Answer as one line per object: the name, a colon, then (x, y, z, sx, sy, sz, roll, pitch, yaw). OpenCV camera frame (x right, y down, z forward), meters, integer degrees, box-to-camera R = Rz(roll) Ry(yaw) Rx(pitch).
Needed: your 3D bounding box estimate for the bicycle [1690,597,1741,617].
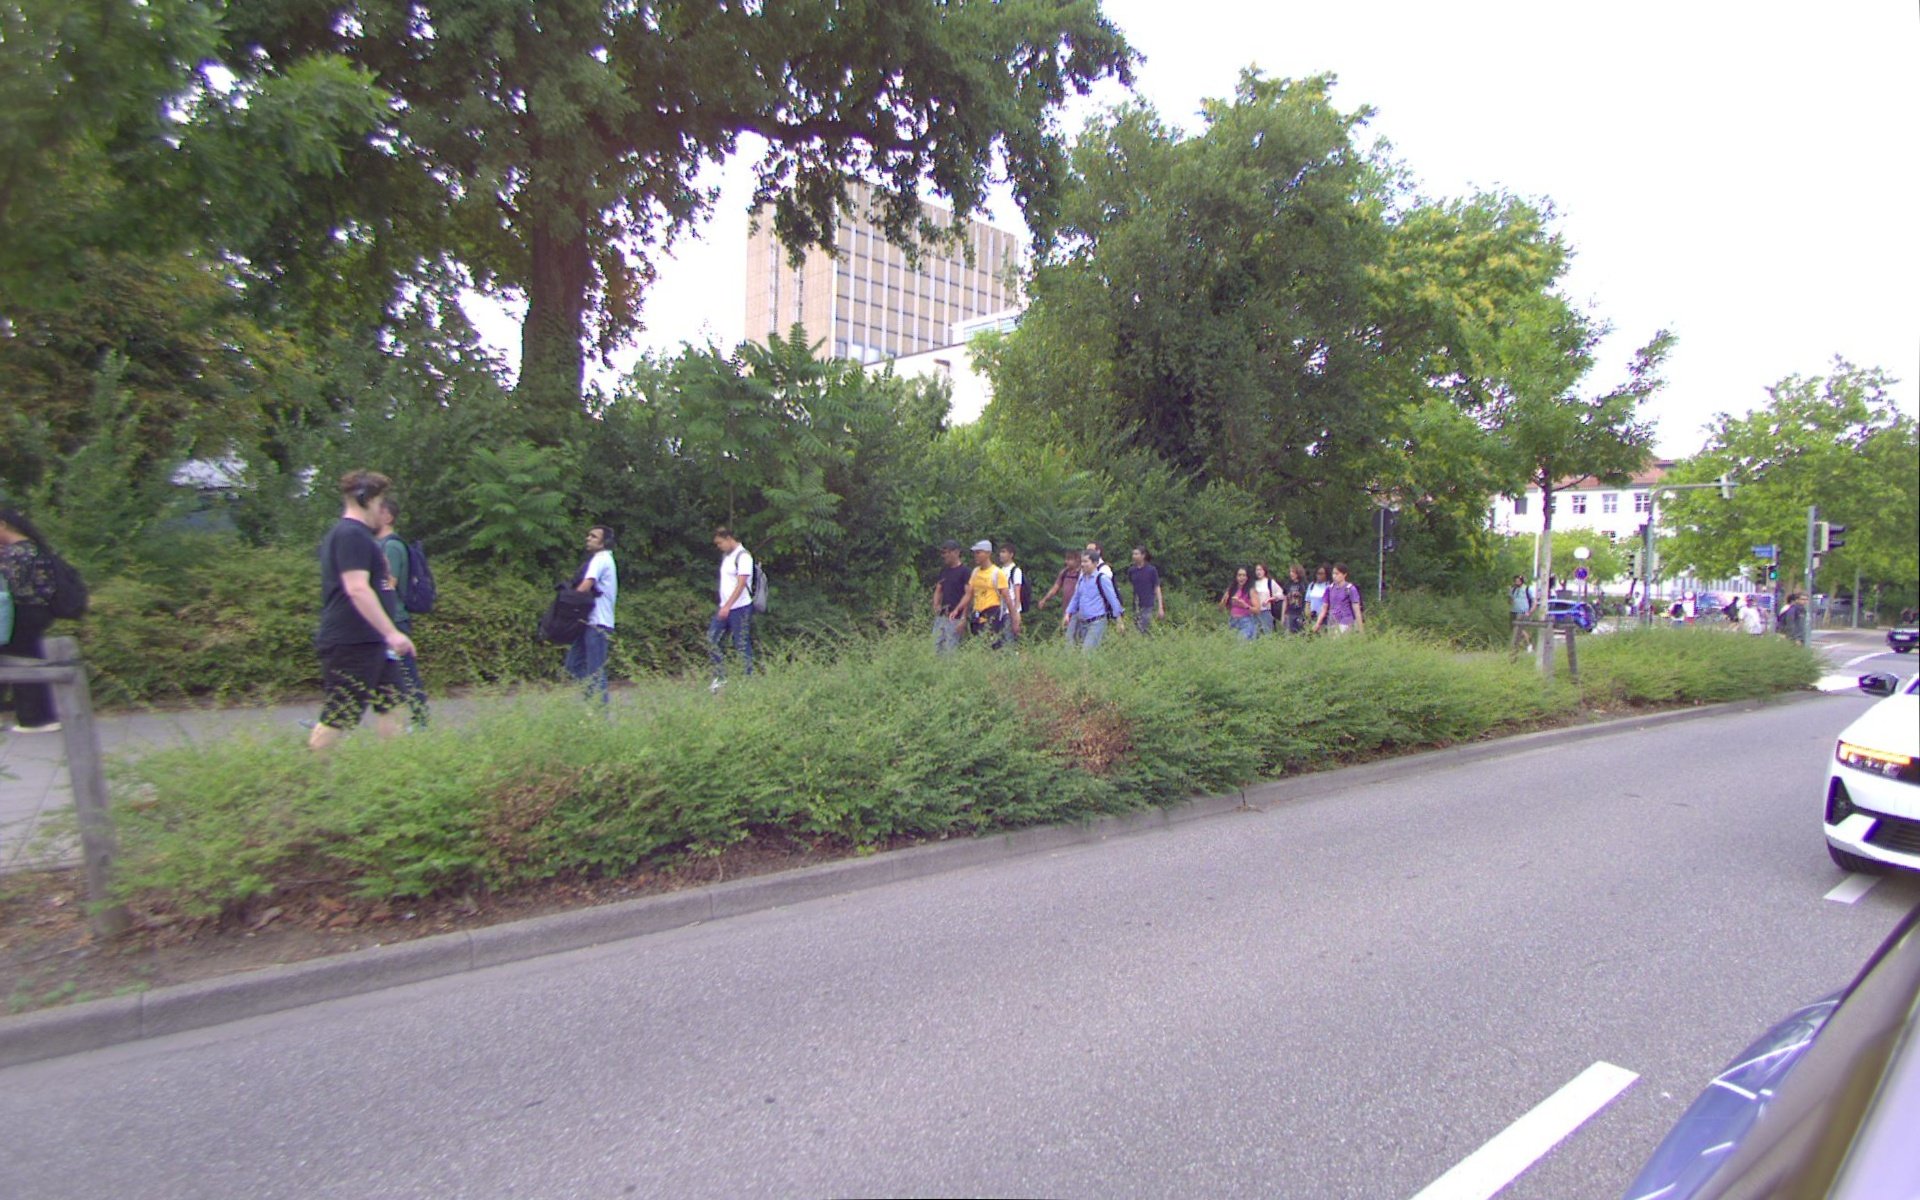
bicycle: (47.385, 0.455, 63.486, 0.705, 1.156, 2.471, 1, 1, -40)

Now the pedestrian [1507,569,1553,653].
pedestrian: (12.699, 0.228, 22.544, 0.727, 1.818, 0.646, 1, 1, -41)

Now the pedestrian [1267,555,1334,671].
pedestrian: (5.368, 0.183, 15.955, 0.766, 1.767, 0.658, 1, 1, -41)

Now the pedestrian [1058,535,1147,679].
pedestrian: (1.840, 0.084, 13.046, 0.941, 1.789, 0.658, 1, 0, -41)

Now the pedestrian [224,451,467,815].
pedestrian: (-3.394, 0.167, 5.691, 0.868, 1.853, 0.939, 2, 1, -11)

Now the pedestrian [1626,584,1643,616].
pedestrian: (42.238, -0.014, 63.349, 0.675, 1.988, 0.601, 1, 0, 9)

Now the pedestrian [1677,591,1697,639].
pedestrian: (28.732, 0.574, 39.992, 0.643, 1.876, 0.818, 1, 0, 37)

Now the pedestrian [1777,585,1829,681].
pedestrian: (15.844, 0.599, 19.024, 0.643, 1.756, 0.602, 1, 1, -41)

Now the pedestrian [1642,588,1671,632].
pedestrian: (29.384, 0.407, 42.695, 0.875, 1.827, 0.769, 1, 0, -37)

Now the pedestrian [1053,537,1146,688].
pedestrian: (1.610, 0.132, 11.687, 0.798, 1.668, 0.658, 1, 1, -41)

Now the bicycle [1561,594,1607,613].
bicycle: (41.386, 0.247, 67.107, 0.705, 1.156, 2.471, 1, 1, -40)

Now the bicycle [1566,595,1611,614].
bicycle: (42.004, 0.283, 67.642, 0.705, 1.156, 2.471, 1, 1, -40)

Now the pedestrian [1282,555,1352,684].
pedestrian: (5.070, 0.257, 14.379, 0.776, 1.767, 0.582, 1, 1, -41)

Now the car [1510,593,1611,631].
car: (26.954, 0.504, 45.513, 1.646, 1.510, 3.577, 0, 2, -41)

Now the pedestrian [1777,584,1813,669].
pedestrian: (17.643, 0.547, 21.379, 0.626, 1.756, 0.455, 1, 1, -41)

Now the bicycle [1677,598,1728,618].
bicycle: (46.386, 0.508, 63.228, 0.705, 1.156, 2.471, 1, 1, -40)

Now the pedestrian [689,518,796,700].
pedestrian: (-2.235, 0.079, 10.365, 0.797, 1.766, 0.723, 1, 1, -38)

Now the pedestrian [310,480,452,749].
pedestrian: (-4.260, 0.089, 7.443, 0.797, 1.844, 0.658, 1, 1, -38)

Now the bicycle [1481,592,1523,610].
bicycle: (38.015, 0.063, 71.023, 0.705, 1.156, 2.471, 1, 1, -40)

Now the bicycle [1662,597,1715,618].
bicycle: (44.080, 0.443, 61.248, 0.705, 1.156, 2.471, 1, 1, -40)

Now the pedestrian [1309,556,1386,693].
pedestrian: (5.202, 0.313, 13.602, 0.766, 1.767, 0.625, 1, 1, -41)

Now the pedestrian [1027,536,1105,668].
pedestrian: (1.429, 0.018, 13.659, 0.766, 1.720, 0.658, 1, 1, -41)

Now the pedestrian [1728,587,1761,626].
pedestrian: (35.957, 0.290, 46.383, 0.687, 1.730, 0.957, 1, 0, -23)

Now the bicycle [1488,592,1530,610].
bicycle: (38.985, 0.060, 71.889, 0.705, 1.156, 2.471, 1, 1, -40)

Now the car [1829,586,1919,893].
car: (6.813, 0.711, 5.752, 4.691, 1.456, 1.746, 1, 1, -35)

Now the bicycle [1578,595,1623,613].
bicycle: (43.807, 0.283, 69.210, 0.705, 1.156, 2.471, 1, 1, -40)

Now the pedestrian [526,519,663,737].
pedestrian: (-2.930, 0.198, 8.100, 0.797, 1.622, 0.777, 1, 1, -38)

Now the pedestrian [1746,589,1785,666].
pedestrian: (18.206, 0.605, 22.875, 0.626, 1.708, 0.546, 1, 1, -41)

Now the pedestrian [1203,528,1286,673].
pedestrian: (3.611, -0.005, 12.851, 0.766, 1.767, 0.658, 1, 1, -41)

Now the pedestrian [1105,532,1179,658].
pedestrian: (2.633, -0.079, 14.637, 0.766, 1.767, 0.658, 1, 1, -41)

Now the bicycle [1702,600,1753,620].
bicycle: (48.500, 0.595, 63.992, 0.705, 1.156, 2.471, 1, 1, -40)

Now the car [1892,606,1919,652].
car: (35.120, 1.008, 34.805, 4.129, 1.576, 1.791, 0, 0, 24)

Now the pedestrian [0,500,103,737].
pedestrian: (-6.585, 0.115, 7.142, 0.771, 1.603, 0.637, 1, 1, -38)

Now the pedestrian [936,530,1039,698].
pedestrian: (0.290, 0.133, 10.801, 0.827, 1.710, 0.658, 1, 1, -41)

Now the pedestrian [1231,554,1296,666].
pedestrian: (4.954, 0.147, 16.518, 0.766, 1.767, 0.658, 1, 1, -41)

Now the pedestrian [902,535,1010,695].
pedestrian: (-0.039, 0.144, 11.226, 0.954, 1.687, 0.658, 1, 1, -41)
